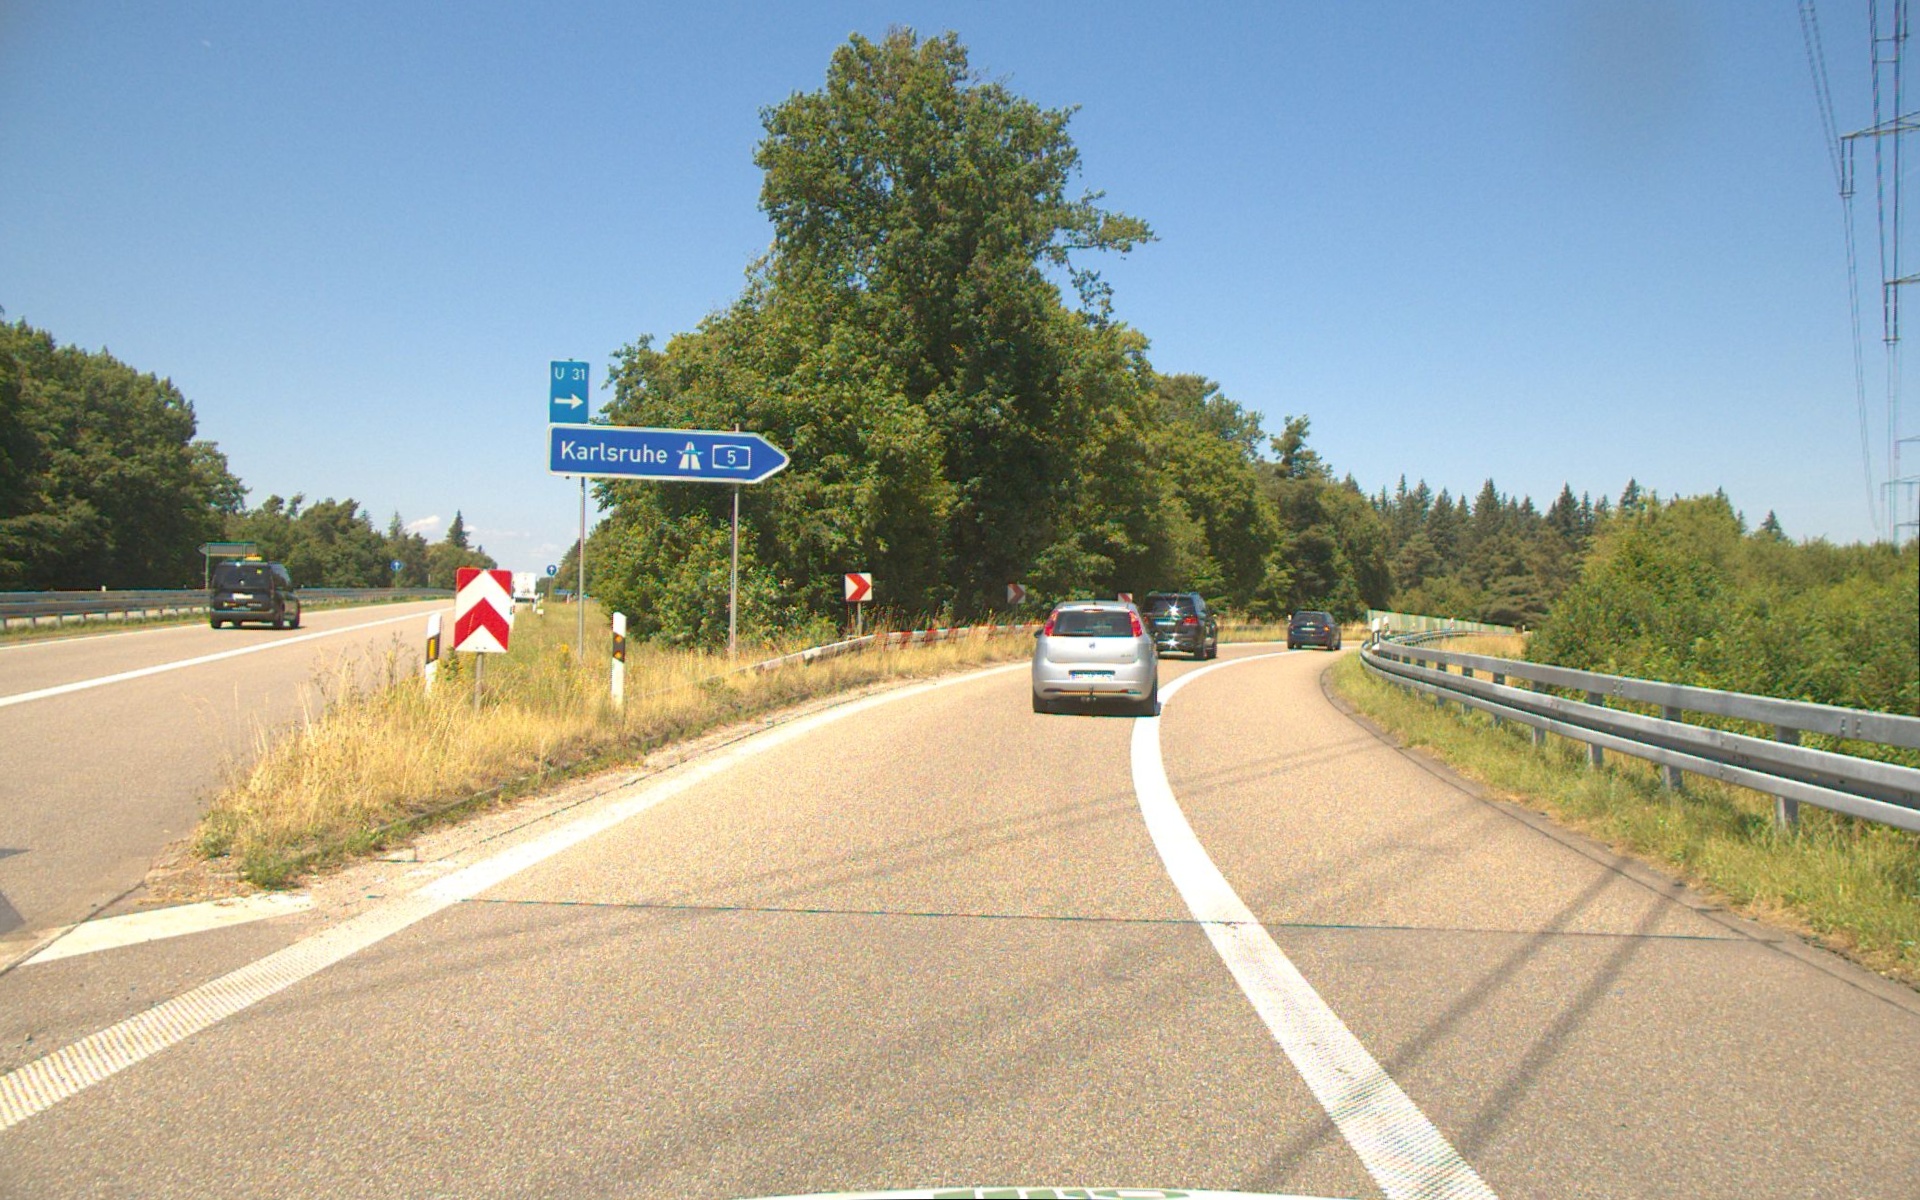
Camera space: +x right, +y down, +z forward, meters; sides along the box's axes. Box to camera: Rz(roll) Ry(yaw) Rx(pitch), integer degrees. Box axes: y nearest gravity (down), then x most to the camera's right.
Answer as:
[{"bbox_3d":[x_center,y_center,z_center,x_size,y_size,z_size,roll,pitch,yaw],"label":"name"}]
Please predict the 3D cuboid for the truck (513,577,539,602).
[{"bbox_3d":[-46.632,-1.129,177.748,2.574,2.688,7.639,0,1,-14],"label":"truck"}]

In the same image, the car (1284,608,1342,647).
[{"bbox_3d":[13.598,1.049,63.578,1.606,1.366,3.574,2,0,20],"label":"car"}]

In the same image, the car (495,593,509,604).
[{"bbox_3d":[-64.878,-0.193,234.369,1.683,1.497,3.562,2,0,-13],"label":"car"}]

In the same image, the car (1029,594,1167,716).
[{"bbox_3d":[1.981,0.706,22.933,1.605,1.493,3.422,2,0,9],"label":"car"}]

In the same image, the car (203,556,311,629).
[{"bbox_3d":[-19.706,-0.235,46.597,1.822,1.920,5.555,0,1,-13],"label":"car"}]

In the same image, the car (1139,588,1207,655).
[{"bbox_3d":[5.825,0.561,44.884,1.605,1.682,3.577,2,0,10],"label":"car"}]
